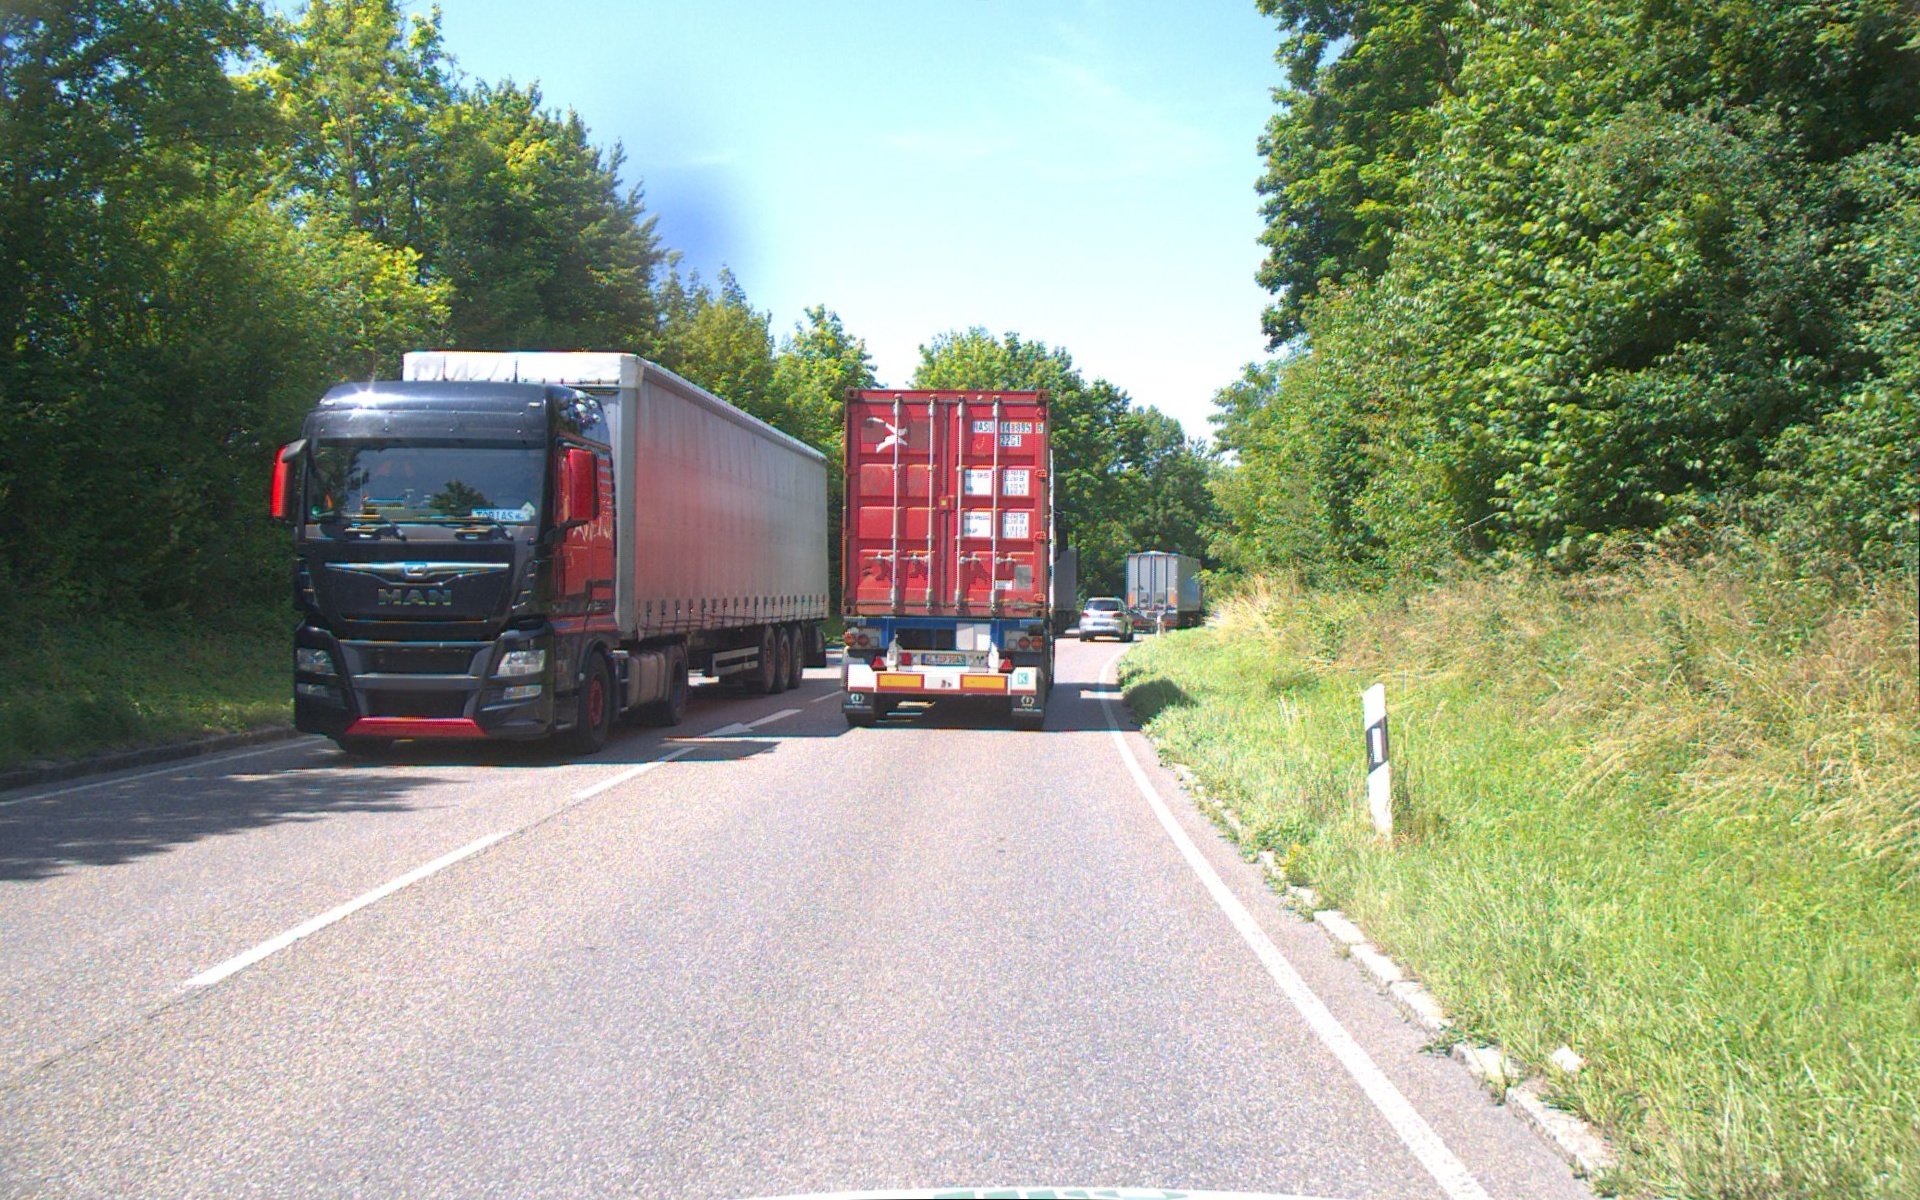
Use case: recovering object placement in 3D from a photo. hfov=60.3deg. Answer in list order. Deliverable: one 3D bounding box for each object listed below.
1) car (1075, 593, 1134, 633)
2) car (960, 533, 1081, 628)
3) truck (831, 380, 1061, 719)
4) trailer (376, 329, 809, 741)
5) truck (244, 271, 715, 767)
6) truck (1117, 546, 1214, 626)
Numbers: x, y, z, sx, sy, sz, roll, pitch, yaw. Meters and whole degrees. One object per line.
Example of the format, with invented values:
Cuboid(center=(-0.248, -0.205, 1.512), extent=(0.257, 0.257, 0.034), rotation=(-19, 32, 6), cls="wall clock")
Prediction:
Cuboid(center=(5.619, 0.510, 64.050), extent=(1.793, 1.458, 4.003), rotation=(-2, -1, 12), cls="car")
Cuboid(center=(2.978, -0.847, 75.388), extent=(3.195, 3.941, 12.756), rotation=(0, 0, 13), cls="car")
Cuboid(center=(0.209, -0.547, 25.651), extent=(2.592, 3.873, 13.364), rotation=(1, 0, 3), cls="truck")
Cuboid(center=(-4.345, -0.653, 22.844), extent=(2.860, 4.256, 11.268), rotation=(1, 0, 3), cls="trailer")
Cuboid(center=(-4.604, -0.695, 17.261), extent=(2.860, 4.256, 5.921), rotation=(1, 0, 3), cls="truck")
Cuboid(center=(10.893, -0.641, 86.397), extent=(2.860, 3.782, 13.368), rotation=(-2, -1, 16), cls="truck")
